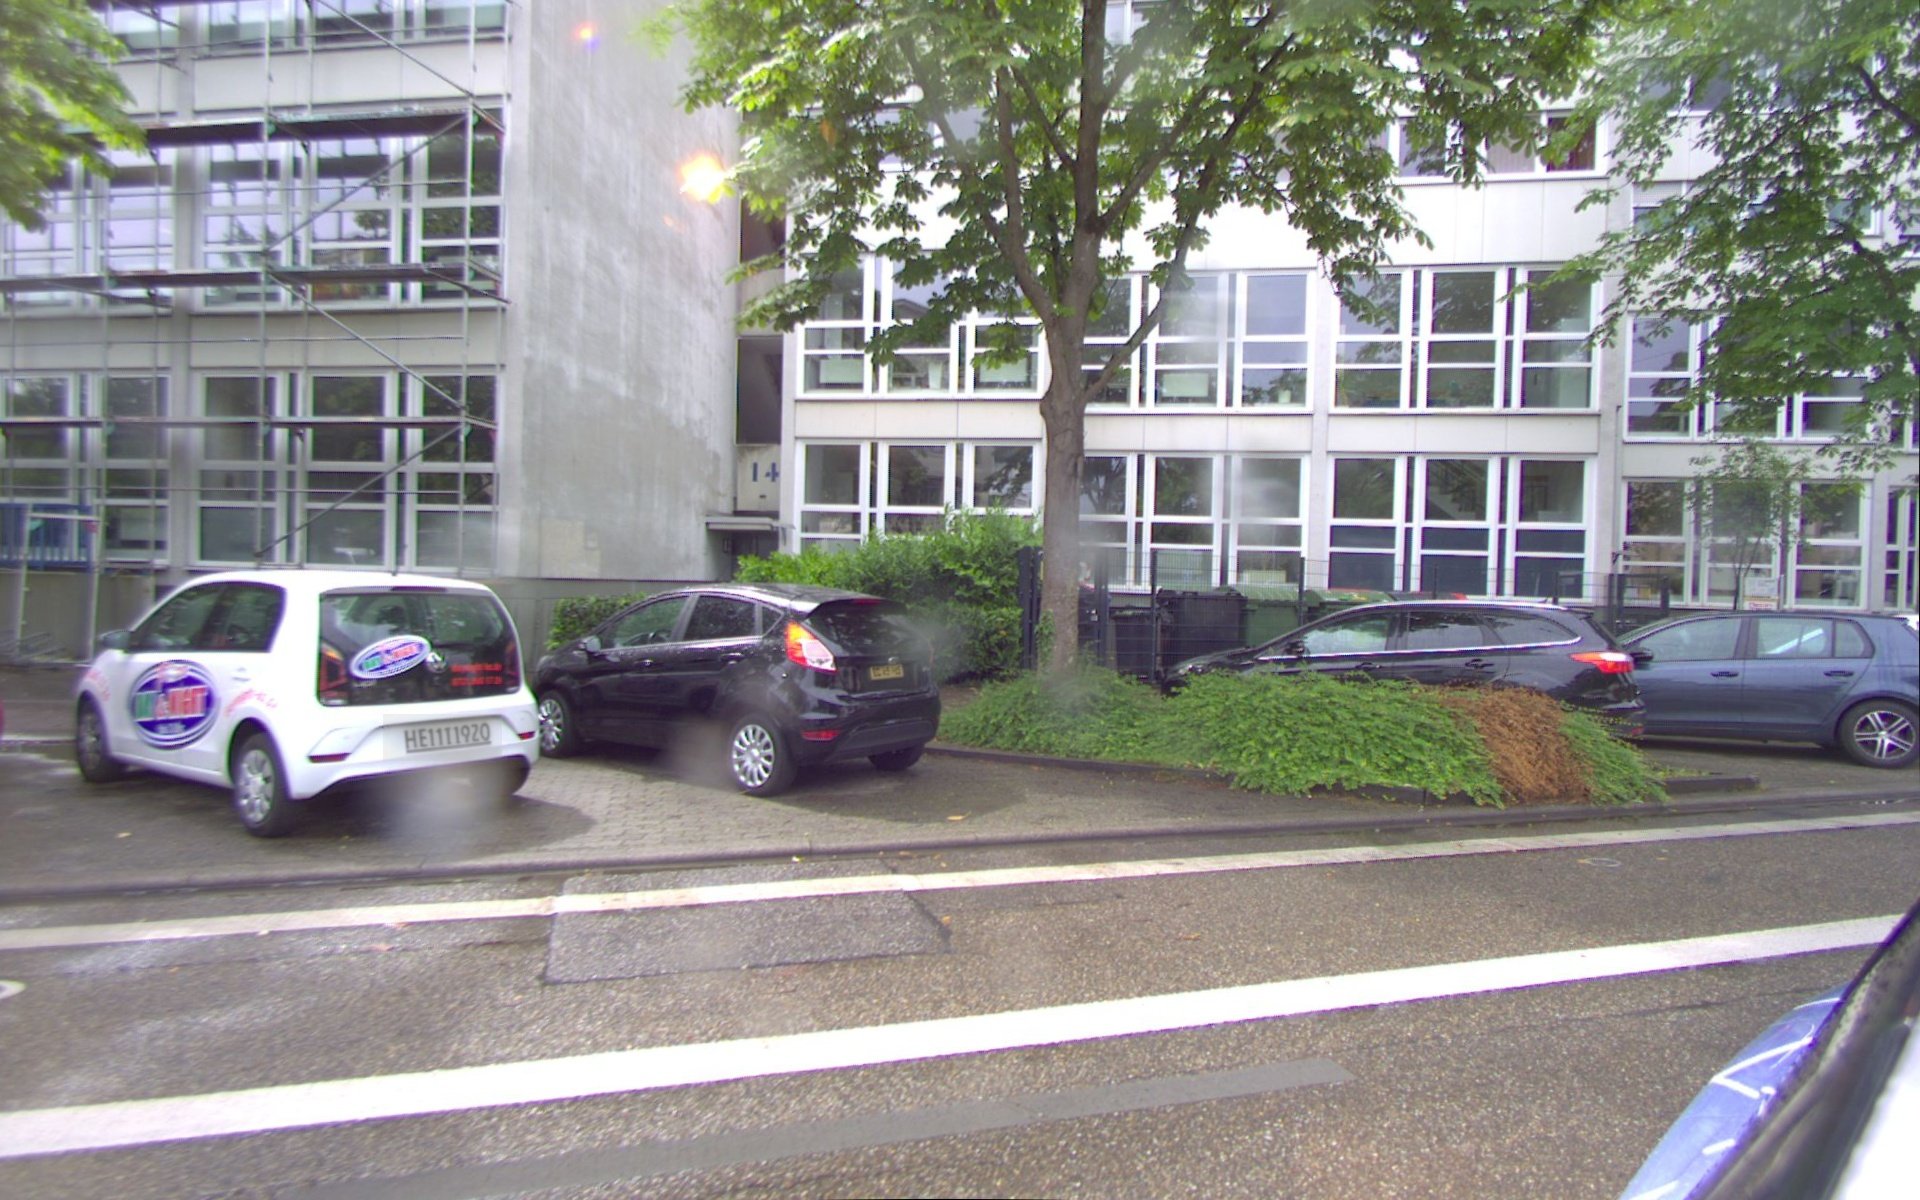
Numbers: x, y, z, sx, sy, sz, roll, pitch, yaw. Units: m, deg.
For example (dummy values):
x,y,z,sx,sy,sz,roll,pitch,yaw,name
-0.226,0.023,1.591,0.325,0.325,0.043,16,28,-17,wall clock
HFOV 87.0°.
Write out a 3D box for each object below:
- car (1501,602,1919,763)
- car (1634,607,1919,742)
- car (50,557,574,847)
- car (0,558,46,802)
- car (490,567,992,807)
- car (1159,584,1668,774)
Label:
x,y,z,sx,sy,sz,roll,pitch,yaw,name
7.924,0.764,10.696,3.845,1.472,1.805,0,-1,28,car
10.509,0.829,12.133,3.845,1.472,1.760,0,-1,28,car
-4.431,0.487,6.855,3.381,1.470,1.692,2,1,32,car
-7.620,0.427,6.372,3.377,1.488,1.724,2,0,29,car
-1.877,0.518,8.200,3.953,1.499,1.793,1,0,35,car
4.380,0.678,10.269,4.328,1.575,1.860,0,-1,27,car
